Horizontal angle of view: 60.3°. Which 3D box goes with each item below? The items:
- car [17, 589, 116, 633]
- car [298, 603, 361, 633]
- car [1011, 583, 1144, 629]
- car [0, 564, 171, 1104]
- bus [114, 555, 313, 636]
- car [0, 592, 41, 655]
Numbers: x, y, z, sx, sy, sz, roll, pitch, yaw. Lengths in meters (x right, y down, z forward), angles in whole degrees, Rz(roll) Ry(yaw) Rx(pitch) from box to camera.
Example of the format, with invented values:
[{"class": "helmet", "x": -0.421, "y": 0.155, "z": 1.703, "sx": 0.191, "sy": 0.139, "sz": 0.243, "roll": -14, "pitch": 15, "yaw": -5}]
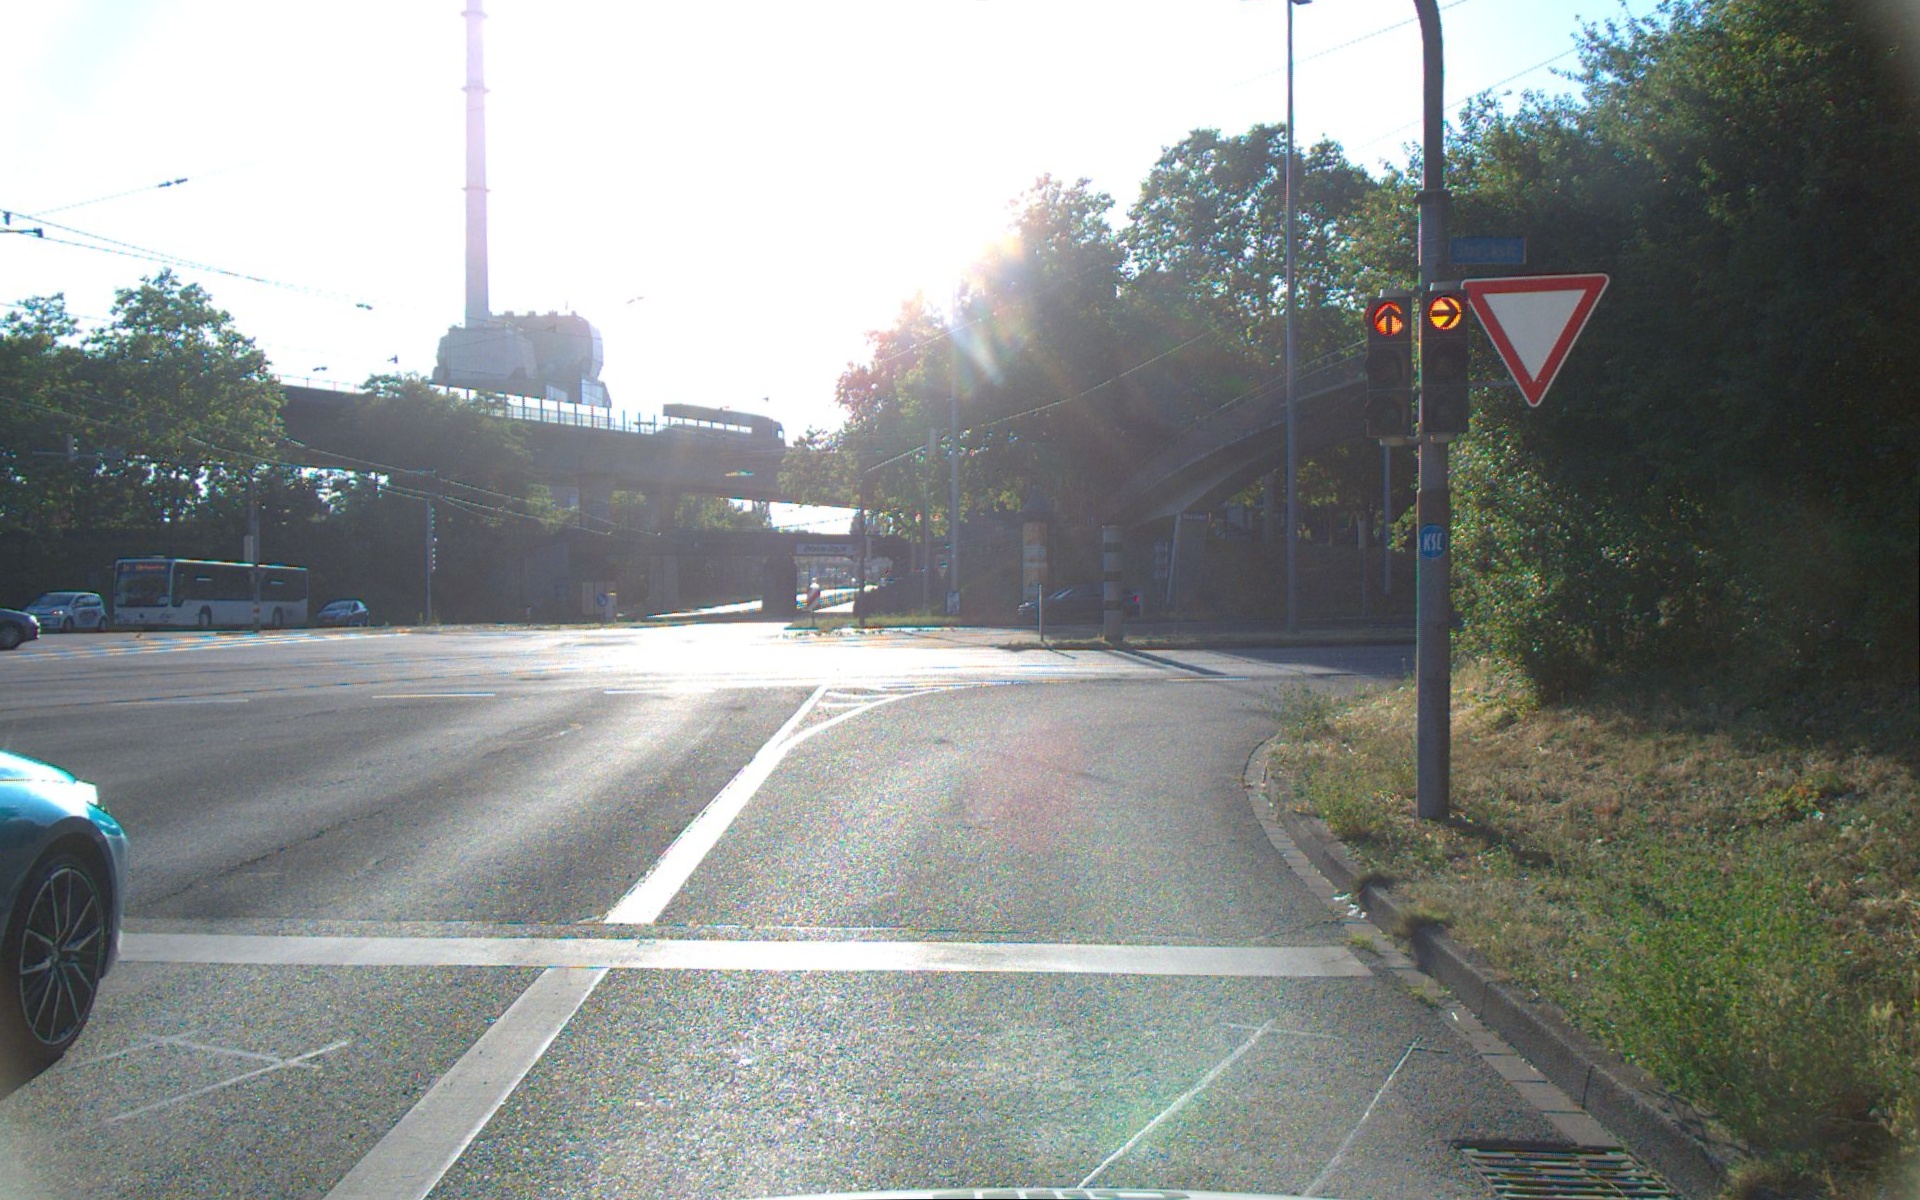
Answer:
[{"class": "car", "x": -32.361, "y": 0.377, "z": 60.024, "sx": 1.574, "sy": 1.538, "sz": 4.006, "roll": 1, "pitch": 0, "yaw": -3}, {"class": "car", "x": -31.808, "y": 0.898, "z": 83.496, "sx": 1.573, "sy": 1.444, "sz": 4.008, "roll": 1, "pitch": 0, "yaw": 1}, {"class": "car", "x": 4.242, "y": 0.231, "z": 59.870, "sx": 4.505, "sy": 1.602, "sz": 1.685, "roll": 1, "pitch": 0, "yaw": -18}, {"class": "car", "x": -3.433, "y": 0.663, "z": 3.528, "sx": 1.680, "sy": 1.491, "sz": 4.204, "roll": 0, "pitch": 1, "yaw": -3}, {"class": "bus", "x": -32.129, "y": -0.088, "z": 72.007, "sx": 2.491, "sy": 3.185, "sz": 12.919, "roll": 0, "pitch": -1, "yaw": 2}, {"class": "car", "x": -23.223, "y": 0.532, "z": 36.993, "sx": 1.636, "sy": 1.429, "sz": 4.431, "roll": 1, "pitch": 0, "yaw": 34}]
